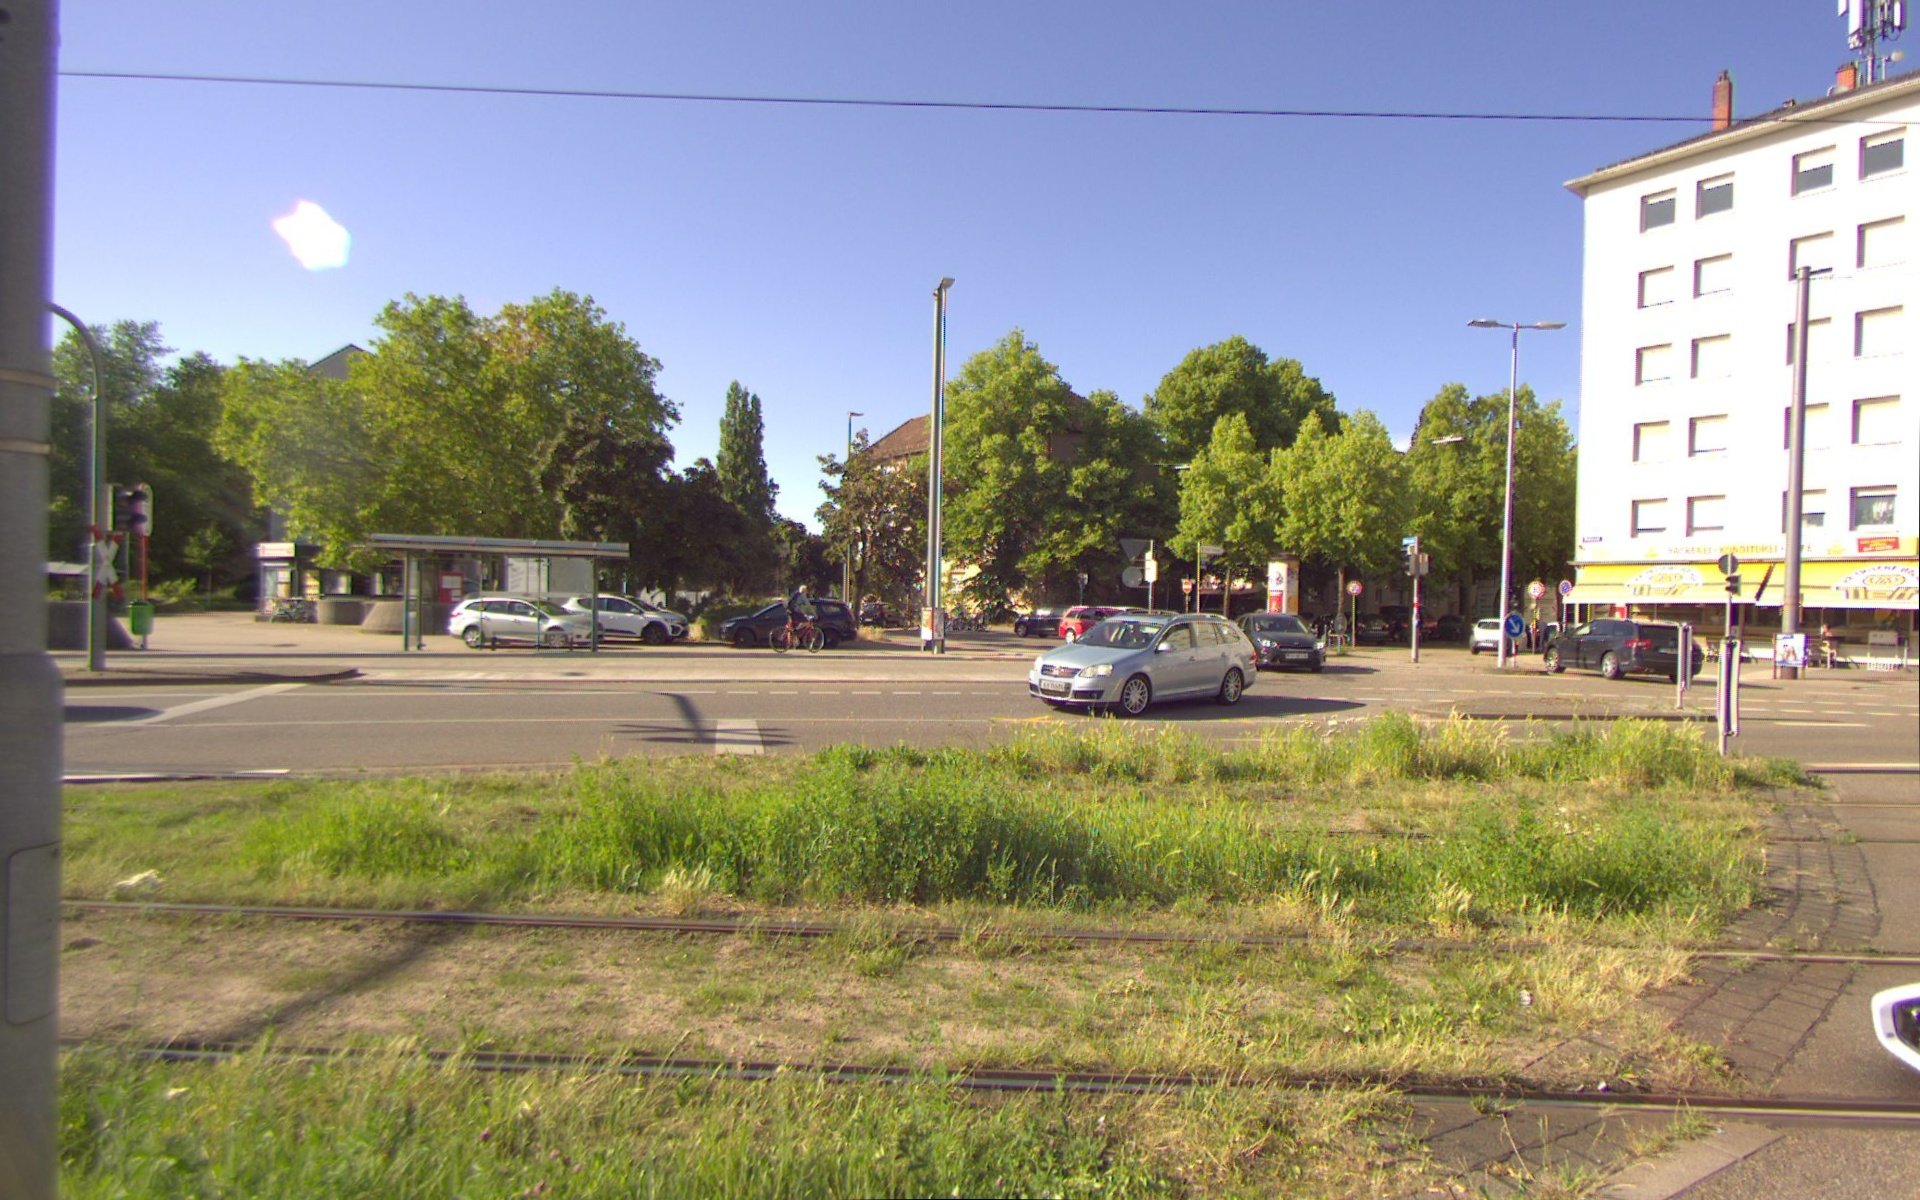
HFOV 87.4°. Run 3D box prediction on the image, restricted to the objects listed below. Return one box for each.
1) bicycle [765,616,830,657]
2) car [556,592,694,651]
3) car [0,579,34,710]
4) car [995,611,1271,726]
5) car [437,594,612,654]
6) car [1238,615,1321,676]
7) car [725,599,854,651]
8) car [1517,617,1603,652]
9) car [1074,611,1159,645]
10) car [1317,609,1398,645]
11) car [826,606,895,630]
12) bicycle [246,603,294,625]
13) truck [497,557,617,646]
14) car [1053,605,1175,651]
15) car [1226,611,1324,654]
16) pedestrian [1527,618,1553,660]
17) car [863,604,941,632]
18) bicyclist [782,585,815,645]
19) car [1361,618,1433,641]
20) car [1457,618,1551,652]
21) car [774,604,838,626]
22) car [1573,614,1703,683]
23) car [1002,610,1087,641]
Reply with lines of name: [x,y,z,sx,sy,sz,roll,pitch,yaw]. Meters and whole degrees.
bicycle: [-4.334,0.958,26.830,1.642,1.015,0.608,0,2,-36]
car: [-10.694,0.684,32.315,3.926,1.741,1.761,1,3,-8]
car: [-14.057,0.503,11.547,4.653,1.635,1.750,1,0,-22]
car: [2.872,0.948,15.834,4.848,1.461,1.712,0,2,-44]
car: [-12.891,0.674,29.887,4.457,1.565,1.873,1,3,8]
car: [8.288,1.124,26.349,1.631,1.410,4.152,1,0,12]
car: [-5.455,0.773,31.989,3.939,1.509,1.759,0,3,-13]
car: [27.589,1.571,46.140,3.898,1.533,1.924,1,0,-34]
car: [7.985,1.397,51.134,4.180,1.639,1.750,1,1,-33]
car: [19.284,1.289,48.775,1.658,1.623,3.267,1,0,-41]
car: [-6.138,1.108,62.378,3.919,1.356,1.807,1,0,7]
bicycle: [-27.221,0.553,39.630,1.651,0.850,0.548,1,0,12]
truck: [-14.720,0.047,37.007,1.959,3.035,4.831,1,1,7]
car: [5.643,0.996,37.233,1.740,1.508,4.493,1,0,-38]
car: [11.609,1.168,37.190,1.628,1.457,3.375,1,0,-24]
pedestrian: [23.611,1.574,40.890,0.782,1.643,0.826,1,0,39]
car: [-3.157,1.004,55.129,3.970,1.460,1.895,1,0,-42]
bicyclist: [-4.324,0.394,26.817,0.669,1.551,0.608,0,2,-35]
car: [24.699,1.670,56.861,3.373,1.206,1.669,1,0,7]
car: [22.982,1.475,42.419,3.961,1.327,1.980,1,0,-36]
car: [-10.334,0.986,67.603,3.919,1.356,1.807,1,0,7]
car: [16.866,1.138,25.216,1.731,1.506,4.292,1,0,21]
car: [3.689,1.099,44.284,1.682,1.270,3.584,1,0,-39]
